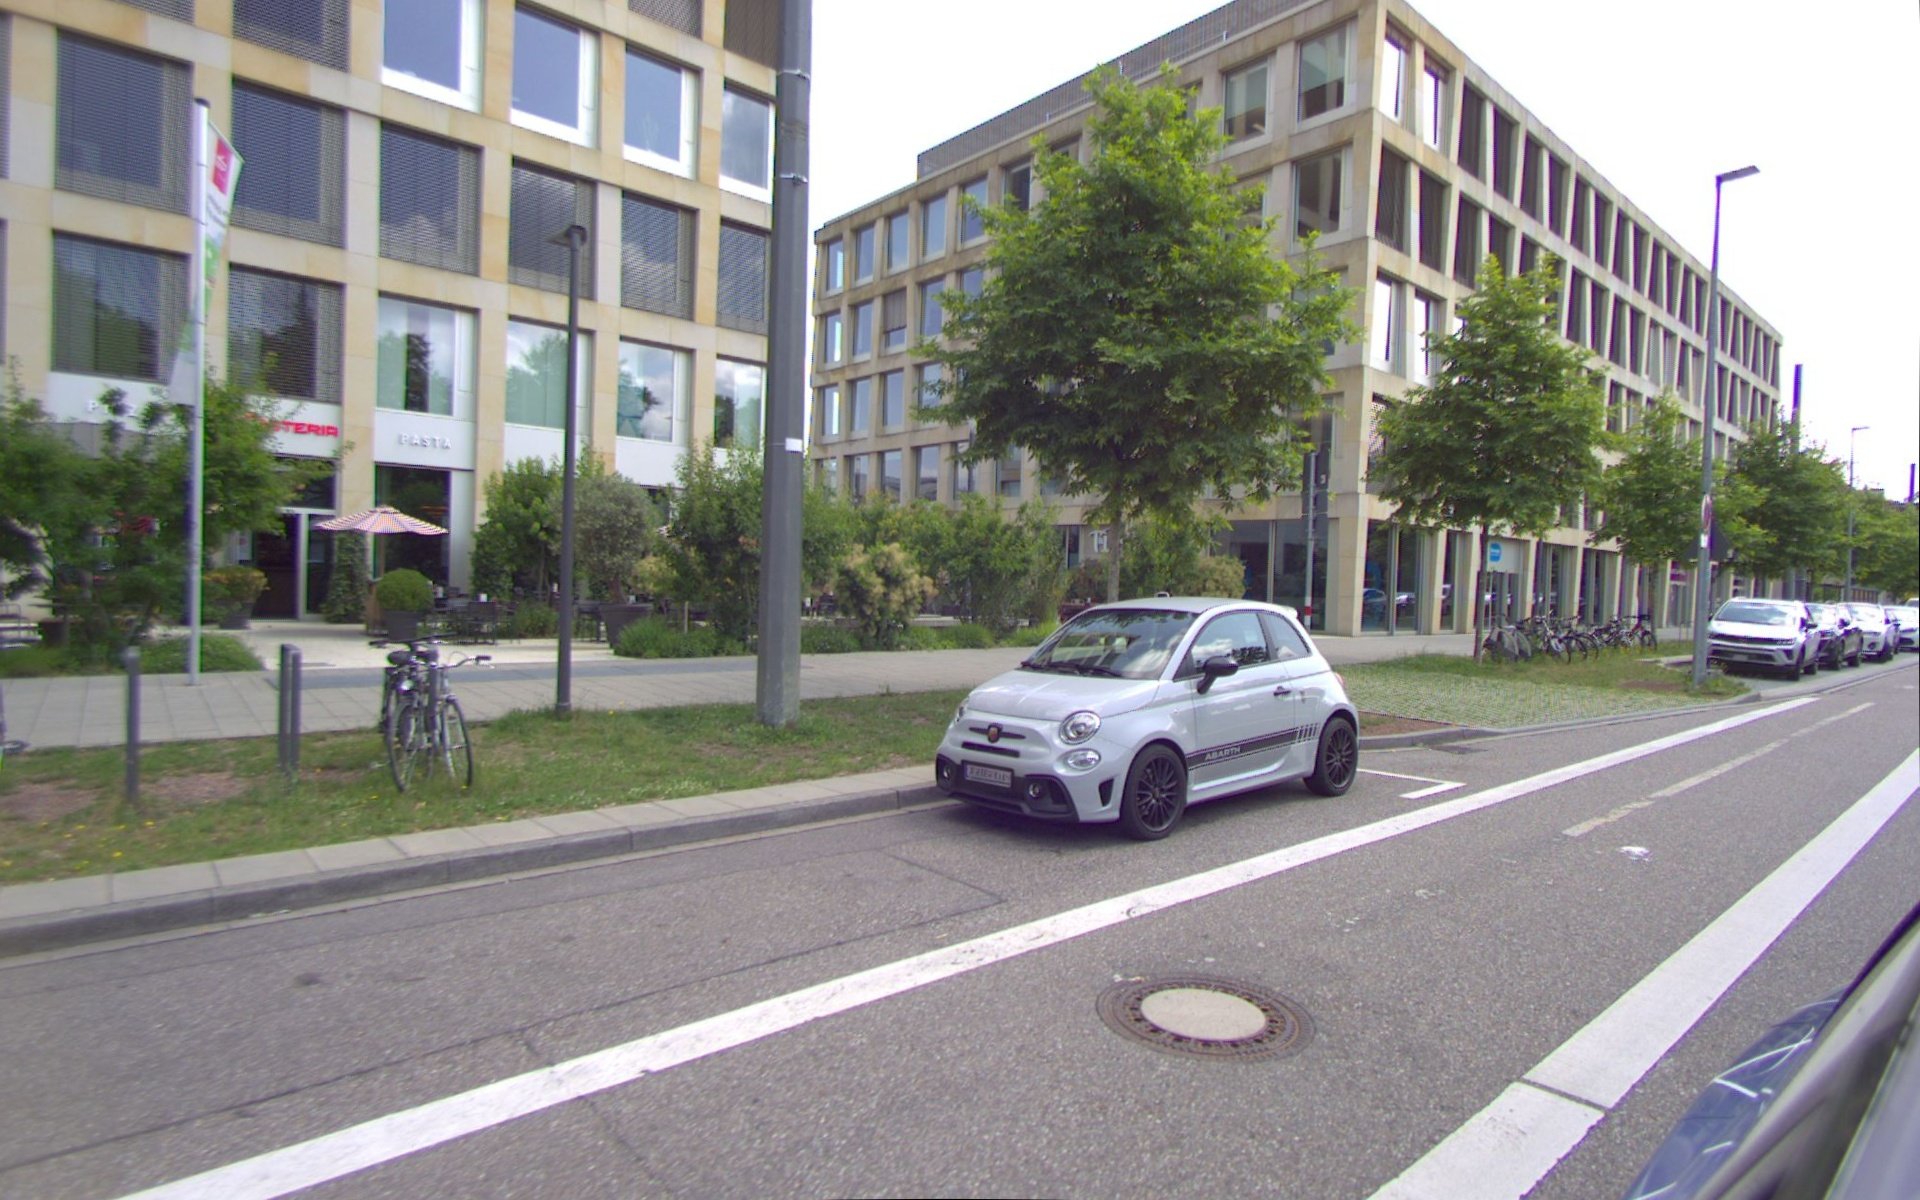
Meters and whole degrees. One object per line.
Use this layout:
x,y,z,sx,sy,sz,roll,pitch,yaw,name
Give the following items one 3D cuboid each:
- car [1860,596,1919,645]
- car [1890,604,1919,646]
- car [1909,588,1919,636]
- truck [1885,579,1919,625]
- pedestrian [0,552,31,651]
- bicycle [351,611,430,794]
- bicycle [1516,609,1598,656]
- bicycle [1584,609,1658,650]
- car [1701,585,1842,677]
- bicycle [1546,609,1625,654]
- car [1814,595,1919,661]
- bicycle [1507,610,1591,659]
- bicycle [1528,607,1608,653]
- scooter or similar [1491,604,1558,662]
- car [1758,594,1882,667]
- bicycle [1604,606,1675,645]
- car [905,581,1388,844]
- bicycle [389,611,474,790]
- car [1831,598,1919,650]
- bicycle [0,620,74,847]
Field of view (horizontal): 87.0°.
33.290,0.711,35.643,4.085,1.548,1.797,1,3,-41,car
37.398,0.995,38.910,4.483,1.505,1.886,1,3,-41,car
41.439,0.572,42.404,4.758,1.963,1.886,1,3,-41,car
63.407,0.219,64.126,2.413,2.902,6.817,0,2,-42,truck
-14.036,0.010,14.636,0.853,1.378,0.777,1,3,-41,pedestrian
-4.149,0.669,7.327,0.270,1.089,1.829,1,2,-36,bicycle
13.391,0.720,22.721,0.496,0.928,1.500,-3,4,-37,bicycle
16.841,0.732,25.813,0.496,0.928,1.500,-3,4,-37,bicycle
17.258,0.602,21.458,3.923,1.653,1.688,1,4,-43,car
14.714,0.726,23.848,0.496,0.928,1.500,-3,4,-37,bicycle
25.672,0.740,28.570,4.079,1.625,1.689,1,3,-41,car
12.866,0.739,22.128,0.496,0.928,1.500,-3,4,-37,bicycle
13.977,0.675,23.300,0.496,0.928,1.500,-3,4,-37,bicycle
12.218,0.691,21.933,0.705,1.190,1.055,1,1,-37,scooter or similar
21.229,0.704,24.943,3.857,1.567,1.689,1,3,-41,car
18.220,0.677,27.153,0.496,0.928,1.500,-3,4,-37,bicycle
1.498,0.643,7.466,3.548,1.478,1.595,1,0,-40,car
-3.941,0.671,7.495,0.270,1.089,1.829,1,2,-36,bicycle
29.530,0.750,32.556,3.881,1.475,1.689,1,3,-41,car
-5.739,0.715,5.918,0.673,1.089,1.829,1,2,-36,bicycle
